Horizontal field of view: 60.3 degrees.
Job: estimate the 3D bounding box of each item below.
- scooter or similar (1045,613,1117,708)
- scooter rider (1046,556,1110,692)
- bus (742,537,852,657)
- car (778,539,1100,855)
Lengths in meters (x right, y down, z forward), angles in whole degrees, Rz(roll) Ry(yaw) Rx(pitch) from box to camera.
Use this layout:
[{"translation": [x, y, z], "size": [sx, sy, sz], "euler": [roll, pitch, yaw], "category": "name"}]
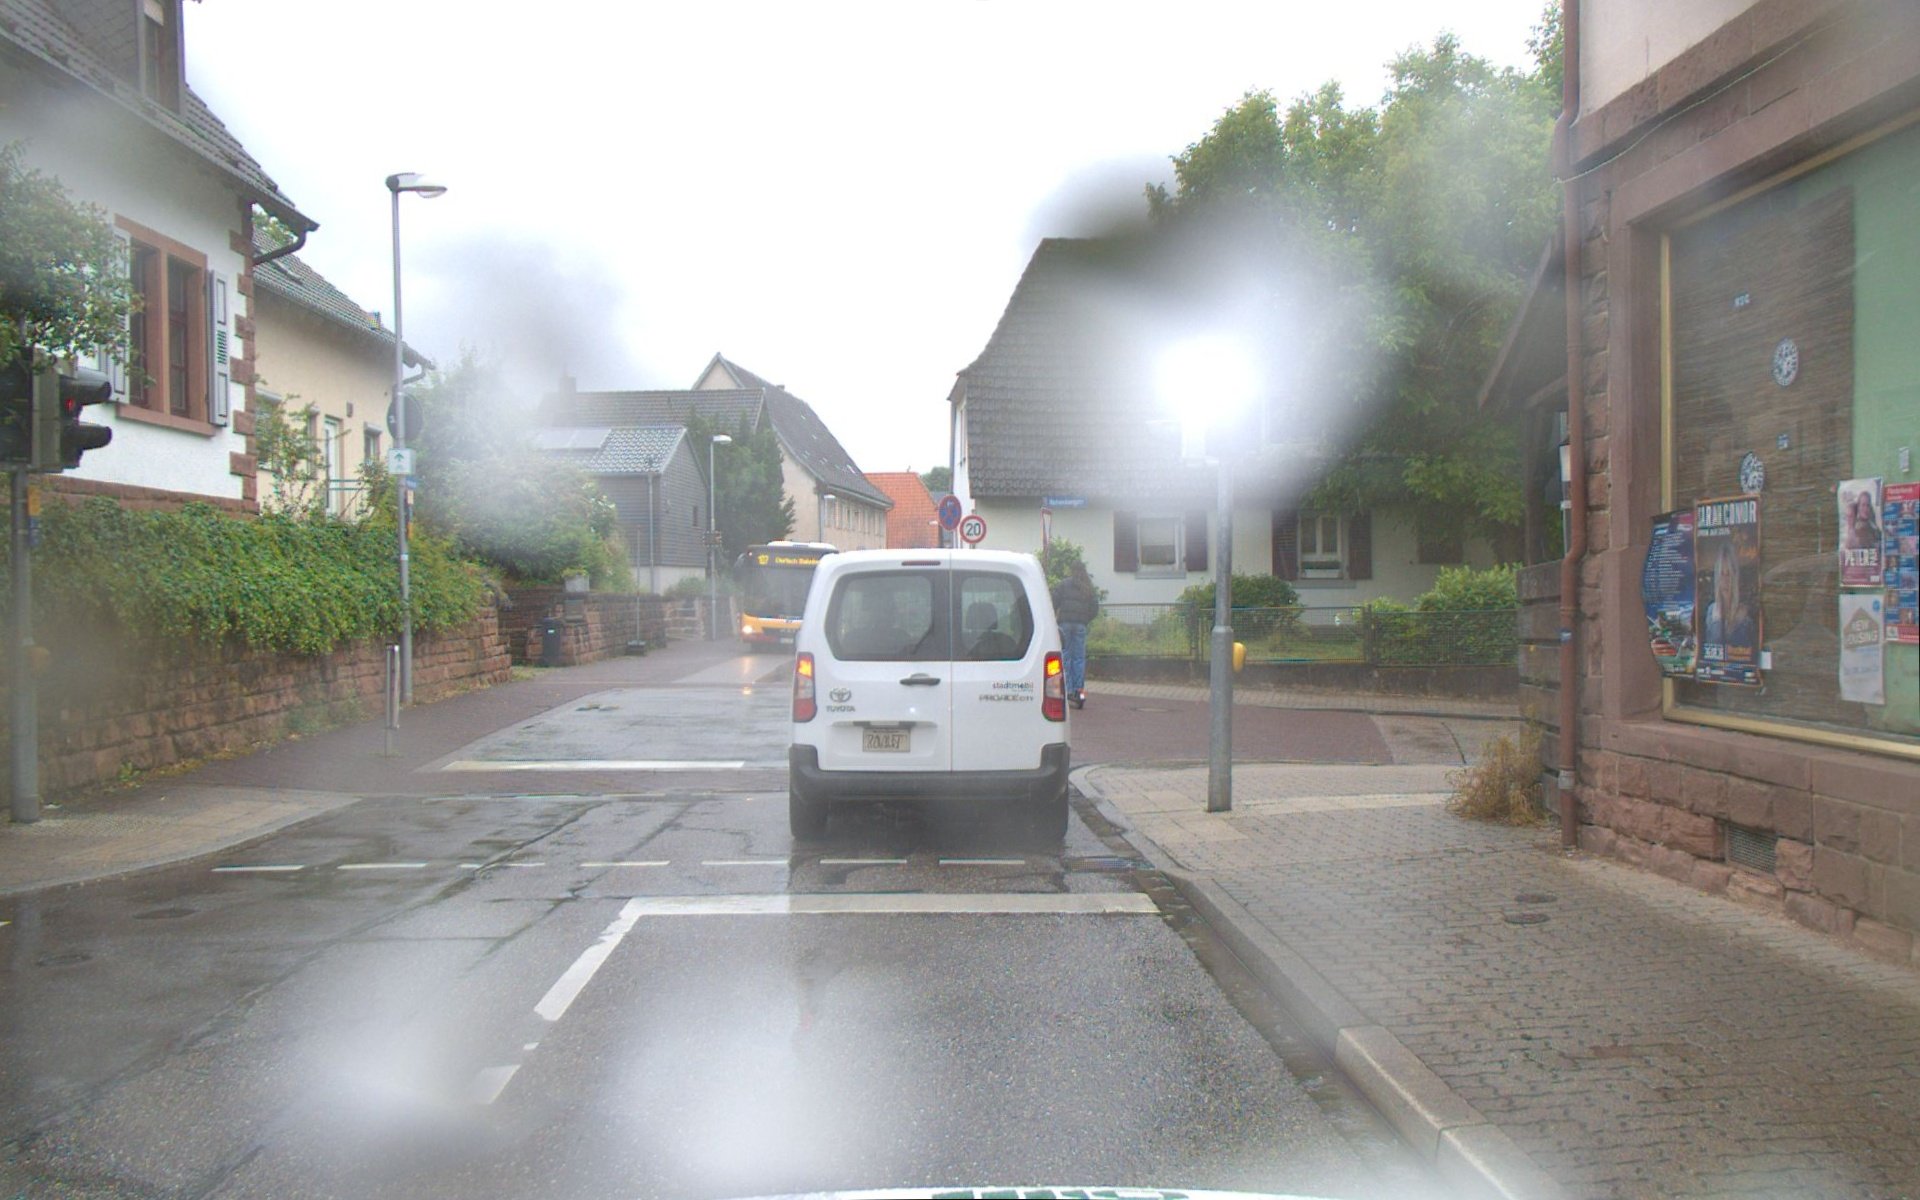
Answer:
[{"translation": [1.566, 0.769, 21.584], "size": [0.609, 1.146, 1.398], "euler": [0, 2, -10], "category": "scooter or similar"}, {"translation": [1.551, 0.304, 21.778], "size": [0.718, 1.763, 0.517], "euler": [0, 2, -11], "category": "scooter rider"}, {"translation": [-4.566, -0.253, 48.327], "size": [2.596, 3.051, 12.187], "euler": [0, 2, -3], "category": "bus"}, {"translation": [-0.196, 0.561, 11.561], "size": [1.856, 1.825, 3.811], "euler": [1, 0, -2], "category": "car"}]
